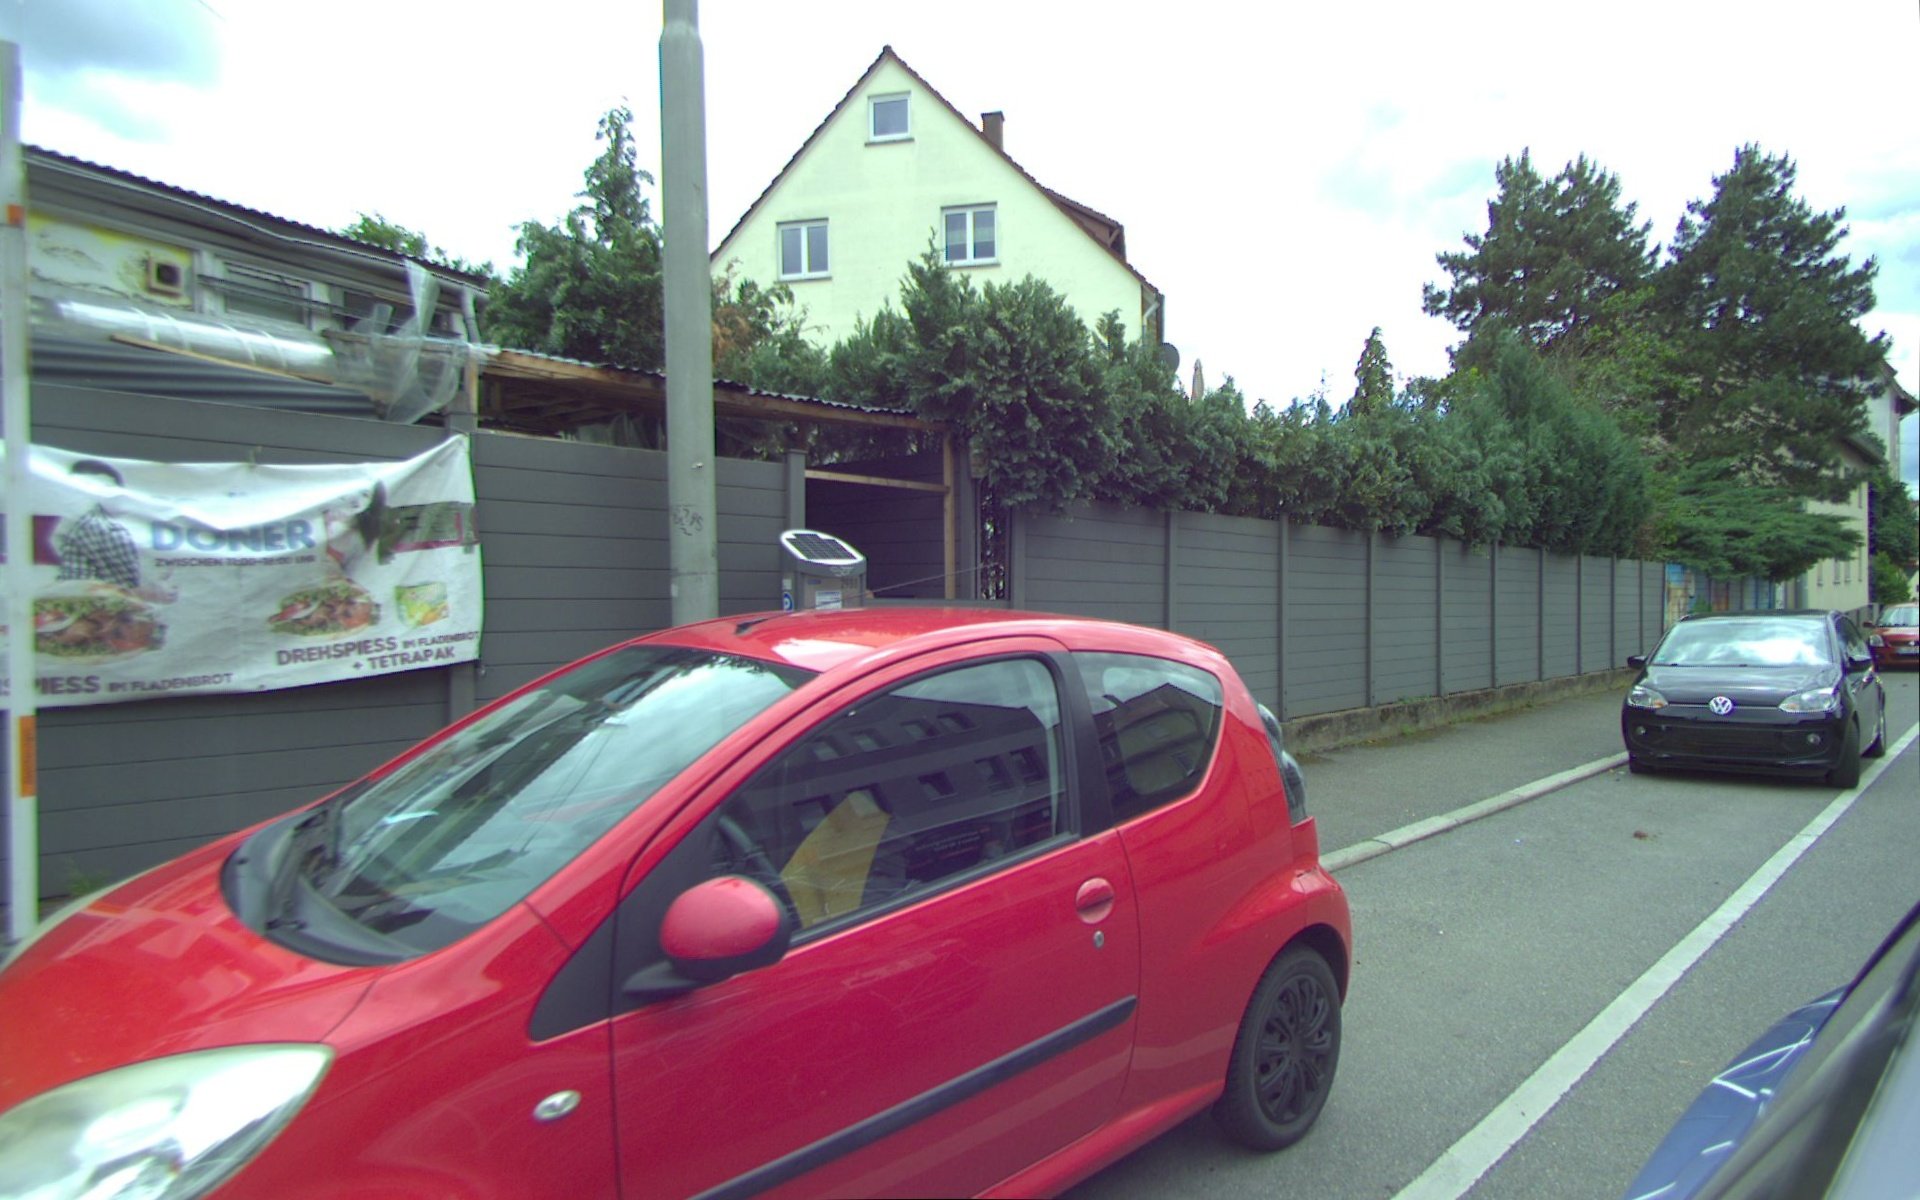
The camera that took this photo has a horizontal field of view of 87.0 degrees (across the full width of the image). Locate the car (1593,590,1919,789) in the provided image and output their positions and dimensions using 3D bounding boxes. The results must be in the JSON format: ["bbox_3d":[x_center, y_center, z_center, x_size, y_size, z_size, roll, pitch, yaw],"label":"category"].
[{"bbox_3d":[7.778,0.712,9.658,3.930,1.500,1.817,0,-3,-41],"label":"car"}]

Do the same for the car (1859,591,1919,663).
[{"bbox_3d":[22.067,0.568,22.984,4.278,1.518,1.992,0,-2,-42],"label":"car"}]

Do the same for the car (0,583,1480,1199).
[{"bbox_3d":[-0.278,0.718,2.800,3.930,1.499,1.718,0,1,-41],"label":"car"}]
